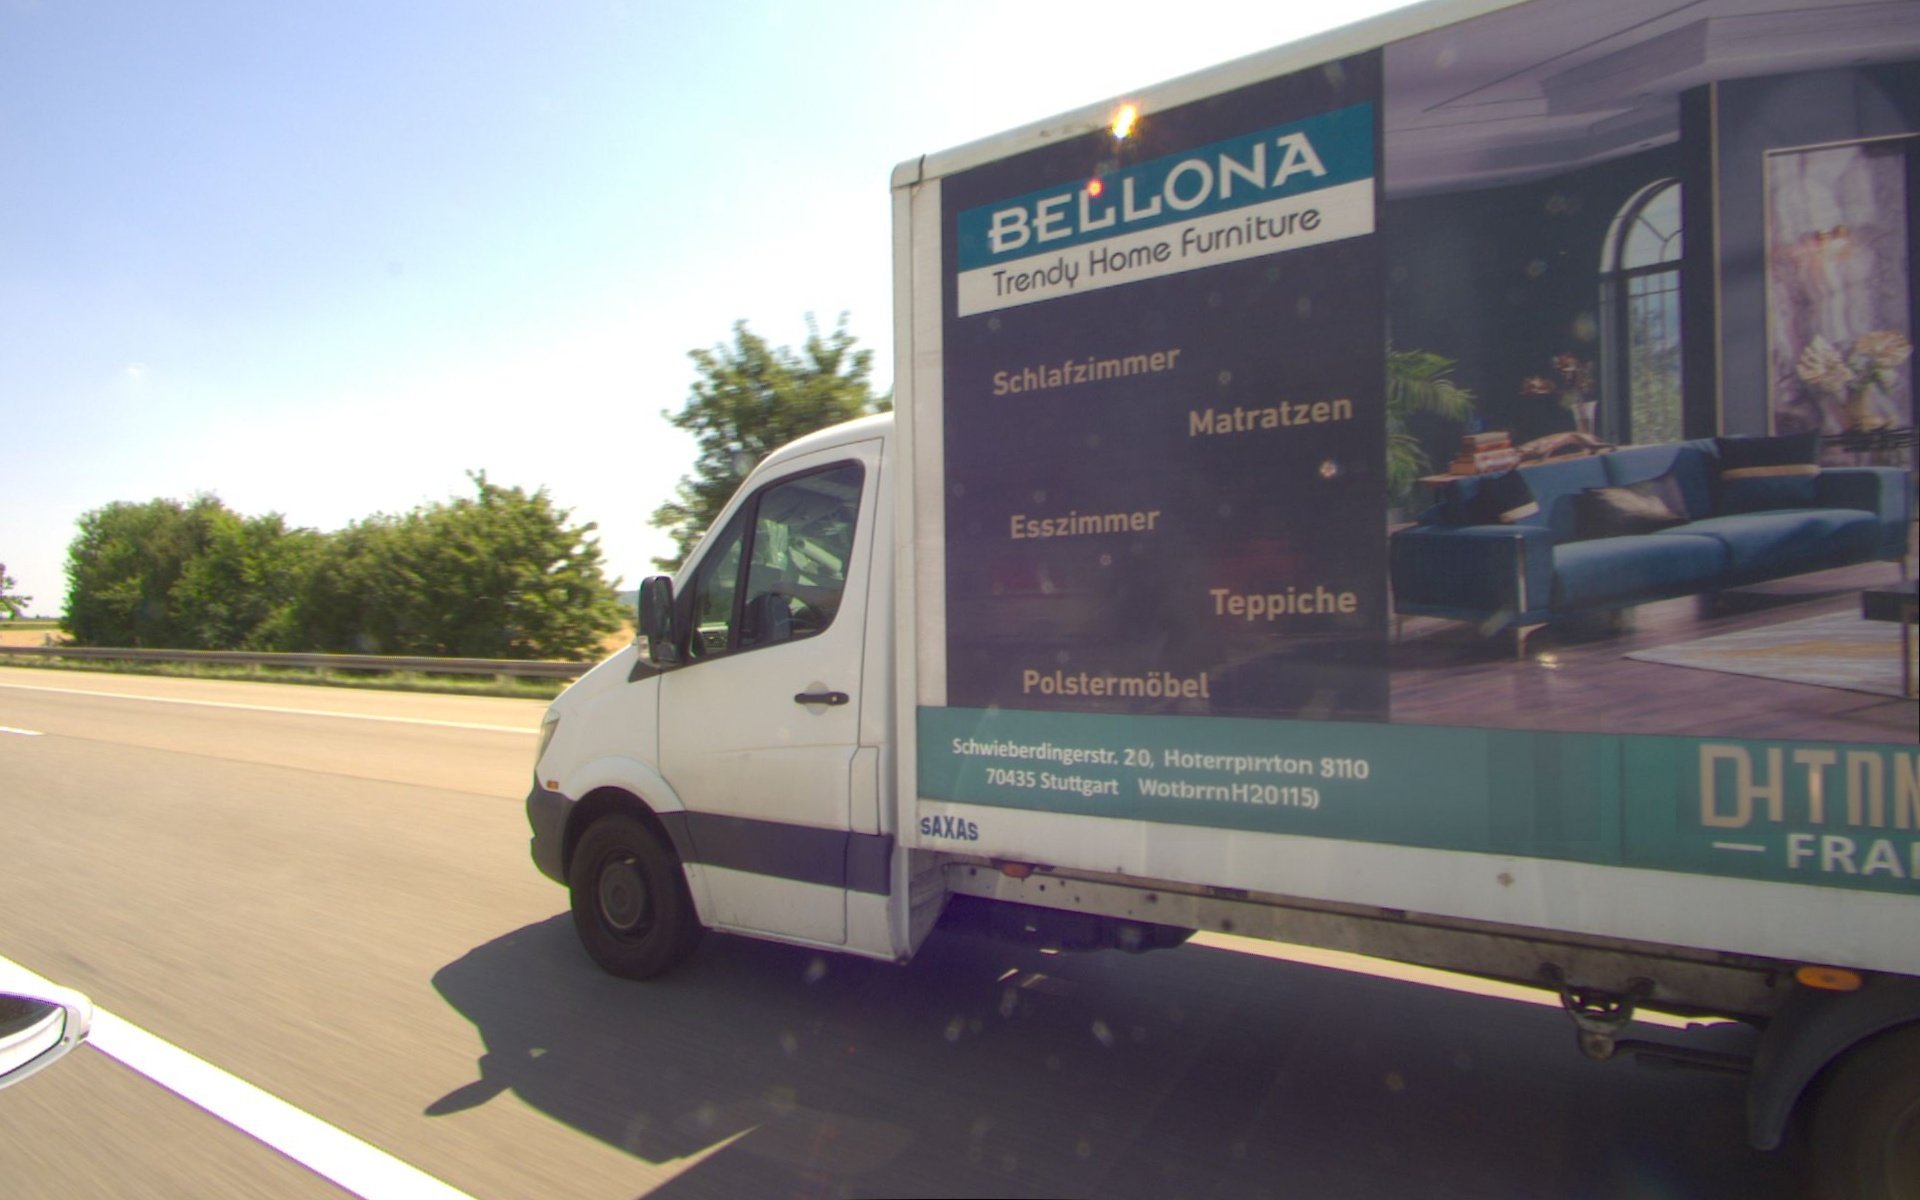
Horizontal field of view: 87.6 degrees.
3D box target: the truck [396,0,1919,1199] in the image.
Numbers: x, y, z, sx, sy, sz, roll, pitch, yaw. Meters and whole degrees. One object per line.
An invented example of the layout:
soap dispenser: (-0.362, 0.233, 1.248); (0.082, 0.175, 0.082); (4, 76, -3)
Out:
truck: (0.719, 0.020, 4.045); (6.653, 3.107, 2.317); (0, -1, 32)
